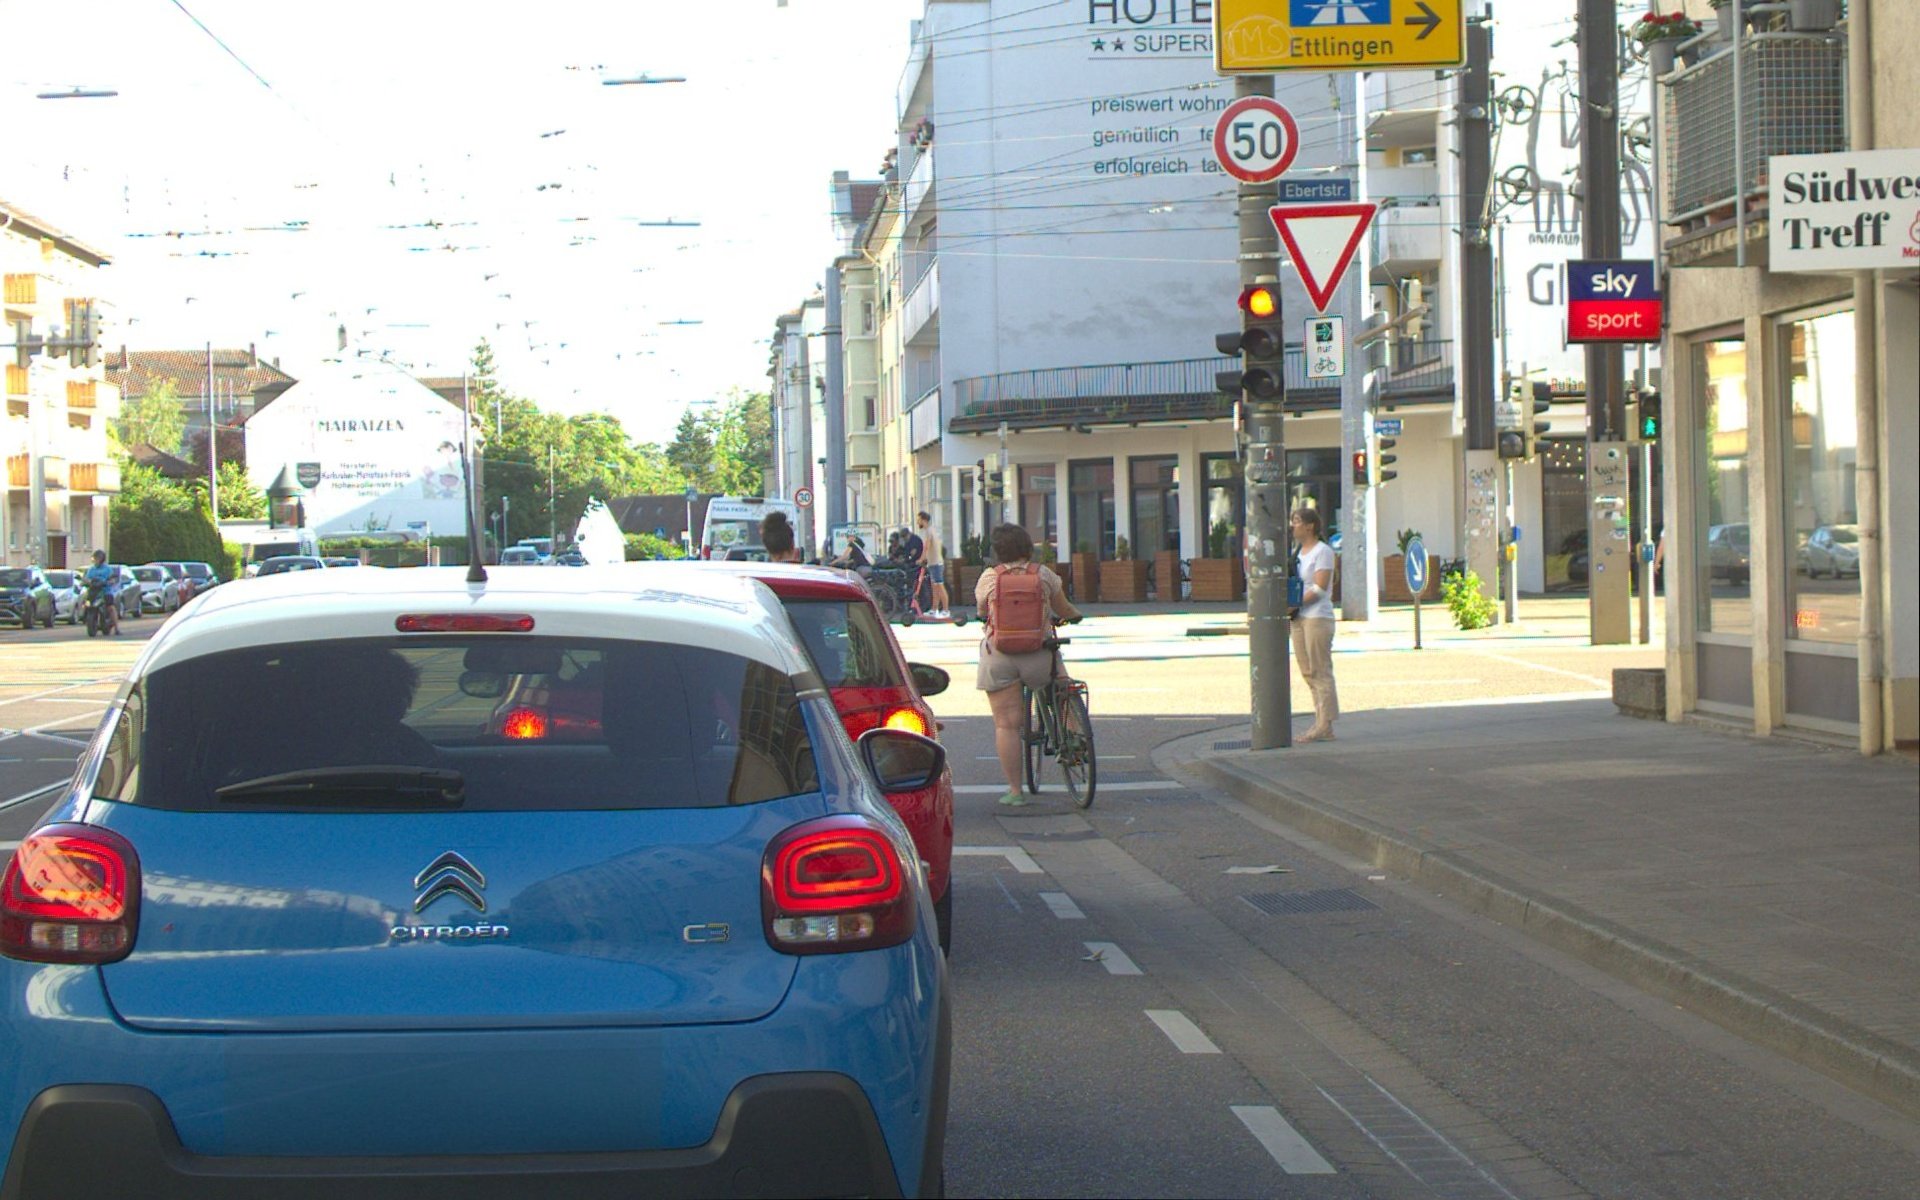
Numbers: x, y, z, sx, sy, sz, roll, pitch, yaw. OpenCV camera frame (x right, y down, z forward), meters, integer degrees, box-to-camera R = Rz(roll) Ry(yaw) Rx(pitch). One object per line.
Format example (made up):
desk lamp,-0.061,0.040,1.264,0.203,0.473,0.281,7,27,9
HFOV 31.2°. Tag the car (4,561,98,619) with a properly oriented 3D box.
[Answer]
car,-24.315,-0.281,92.069,1.732,1.493,4.001,1,1,-5

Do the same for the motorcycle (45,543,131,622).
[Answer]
motorcycle,-16.875,-0.354,66.641,0.923,1.481,3.726,1,1,-3

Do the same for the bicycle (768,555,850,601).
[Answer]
bicycle,-3.054,-0.447,69.420,1.785,0.898,0.366,1,1,34

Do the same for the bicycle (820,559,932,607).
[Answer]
bicycle,-1.643,-0.331,67.072,2.132,0.898,0.367,1,0,-9

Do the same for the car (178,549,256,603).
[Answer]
car,-24.045,-0.787,111.415,1.882,1.681,4.001,1,1,-4

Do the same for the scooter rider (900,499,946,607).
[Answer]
scooter rider,-0.635,-0.805,58.746,0.722,1.826,0.717,-1,1,1

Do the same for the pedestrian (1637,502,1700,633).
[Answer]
pedestrian,8.769,-0.399,42.546,0.736,1.595,0.748,1,0,13

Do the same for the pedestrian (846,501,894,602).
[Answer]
pedestrian,-1.810,-0.976,69.087,0.630,2.007,0.724,1,0,-36

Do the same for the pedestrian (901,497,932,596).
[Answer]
pedestrian,-0.887,-1.090,70.077,0.577,2.007,0.626,1,0,-3

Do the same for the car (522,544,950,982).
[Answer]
car,-0.778,0.544,13.174,1.424,1.462,2.924,-1,0,-1

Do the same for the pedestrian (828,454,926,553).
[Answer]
pedestrian,-1.750,-2.039,73.529,1.993,2.007,4.000,1,1,-1

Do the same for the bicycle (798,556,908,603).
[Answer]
bicycle,-2.126,-0.411,68.286,2.132,0.898,0.367,1,0,-9

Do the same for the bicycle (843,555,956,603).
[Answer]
bicycle,-1.158,-0.399,65.940,2.132,0.898,0.367,1,0,-9

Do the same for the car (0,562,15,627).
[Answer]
car,-23.192,-0.135,79.250,1.787,1.506,4.150,1,1,-2

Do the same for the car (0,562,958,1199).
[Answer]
car,-0.860,0.653,7.172,1.654,1.439,3.523,1,1,-1

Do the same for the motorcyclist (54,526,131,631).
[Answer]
motorcyclist,-16.879,-0.422,66.904,1.185,2.007,1.276,-1,1,-3

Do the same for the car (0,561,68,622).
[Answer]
car,-23.621,-0.230,86.021,1.785,1.493,4.001,1,1,-4

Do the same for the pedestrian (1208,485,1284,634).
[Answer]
pedestrian,3.900,-0.548,46.921,0.926,2.007,0.759,1,0,-1

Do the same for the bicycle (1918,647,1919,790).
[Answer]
bicycle,4.895,0.428,15.683,0.542,0.995,1.706,1,1,-1

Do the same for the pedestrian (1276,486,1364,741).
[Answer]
pedestrian,2.547,0.093,24.374,0.517,1.777,0.595,1,0,-2

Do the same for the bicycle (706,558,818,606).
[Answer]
bicycle,-3.817,-0.353,66.259,2.132,0.898,0.367,1,0,-9

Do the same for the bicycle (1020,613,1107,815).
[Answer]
bicycle,0.607,0.652,20.595,0.427,1.119,1.998,1,1,-1

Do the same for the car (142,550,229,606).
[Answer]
car,-23.890,-0.697,106.135,1.983,1.681,4.001,1,1,-3

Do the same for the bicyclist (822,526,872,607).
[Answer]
bicyclist,-2.076,-0.609,63.094,0.746,1.472,0.562,1,0,18

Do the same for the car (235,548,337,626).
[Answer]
car,-14.957,-0.309,76.439,1.774,1.660,3.857,1,1,-4

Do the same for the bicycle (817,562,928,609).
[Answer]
bicycle,-1.714,-0.289,67.545,2.132,0.898,0.367,1,0,-9

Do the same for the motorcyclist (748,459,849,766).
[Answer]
motorcyclist,-0.918,0.066,19.618,0.526,1.710,0.717,1,0,-1

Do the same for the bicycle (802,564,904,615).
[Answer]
bicycle,-1.968,-0.195,63.085,1.855,0.900,0.349,1,0,19

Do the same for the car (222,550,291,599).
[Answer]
car,-24.779,-0.896,121.221,1.846,1.681,3.875,1,1,-4

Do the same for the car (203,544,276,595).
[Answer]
car,-24.411,-1.041,116.588,1.833,1.681,4.001,1,1,-4

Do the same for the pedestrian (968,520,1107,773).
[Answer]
pedestrian,0.448,0.267,20.211,0.777,1.455,0.682,1,0,-1

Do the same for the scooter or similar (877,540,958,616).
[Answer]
scooter or similar,-0.724,-0.373,58.751,1.350,1.265,0.443,-2,0,1
